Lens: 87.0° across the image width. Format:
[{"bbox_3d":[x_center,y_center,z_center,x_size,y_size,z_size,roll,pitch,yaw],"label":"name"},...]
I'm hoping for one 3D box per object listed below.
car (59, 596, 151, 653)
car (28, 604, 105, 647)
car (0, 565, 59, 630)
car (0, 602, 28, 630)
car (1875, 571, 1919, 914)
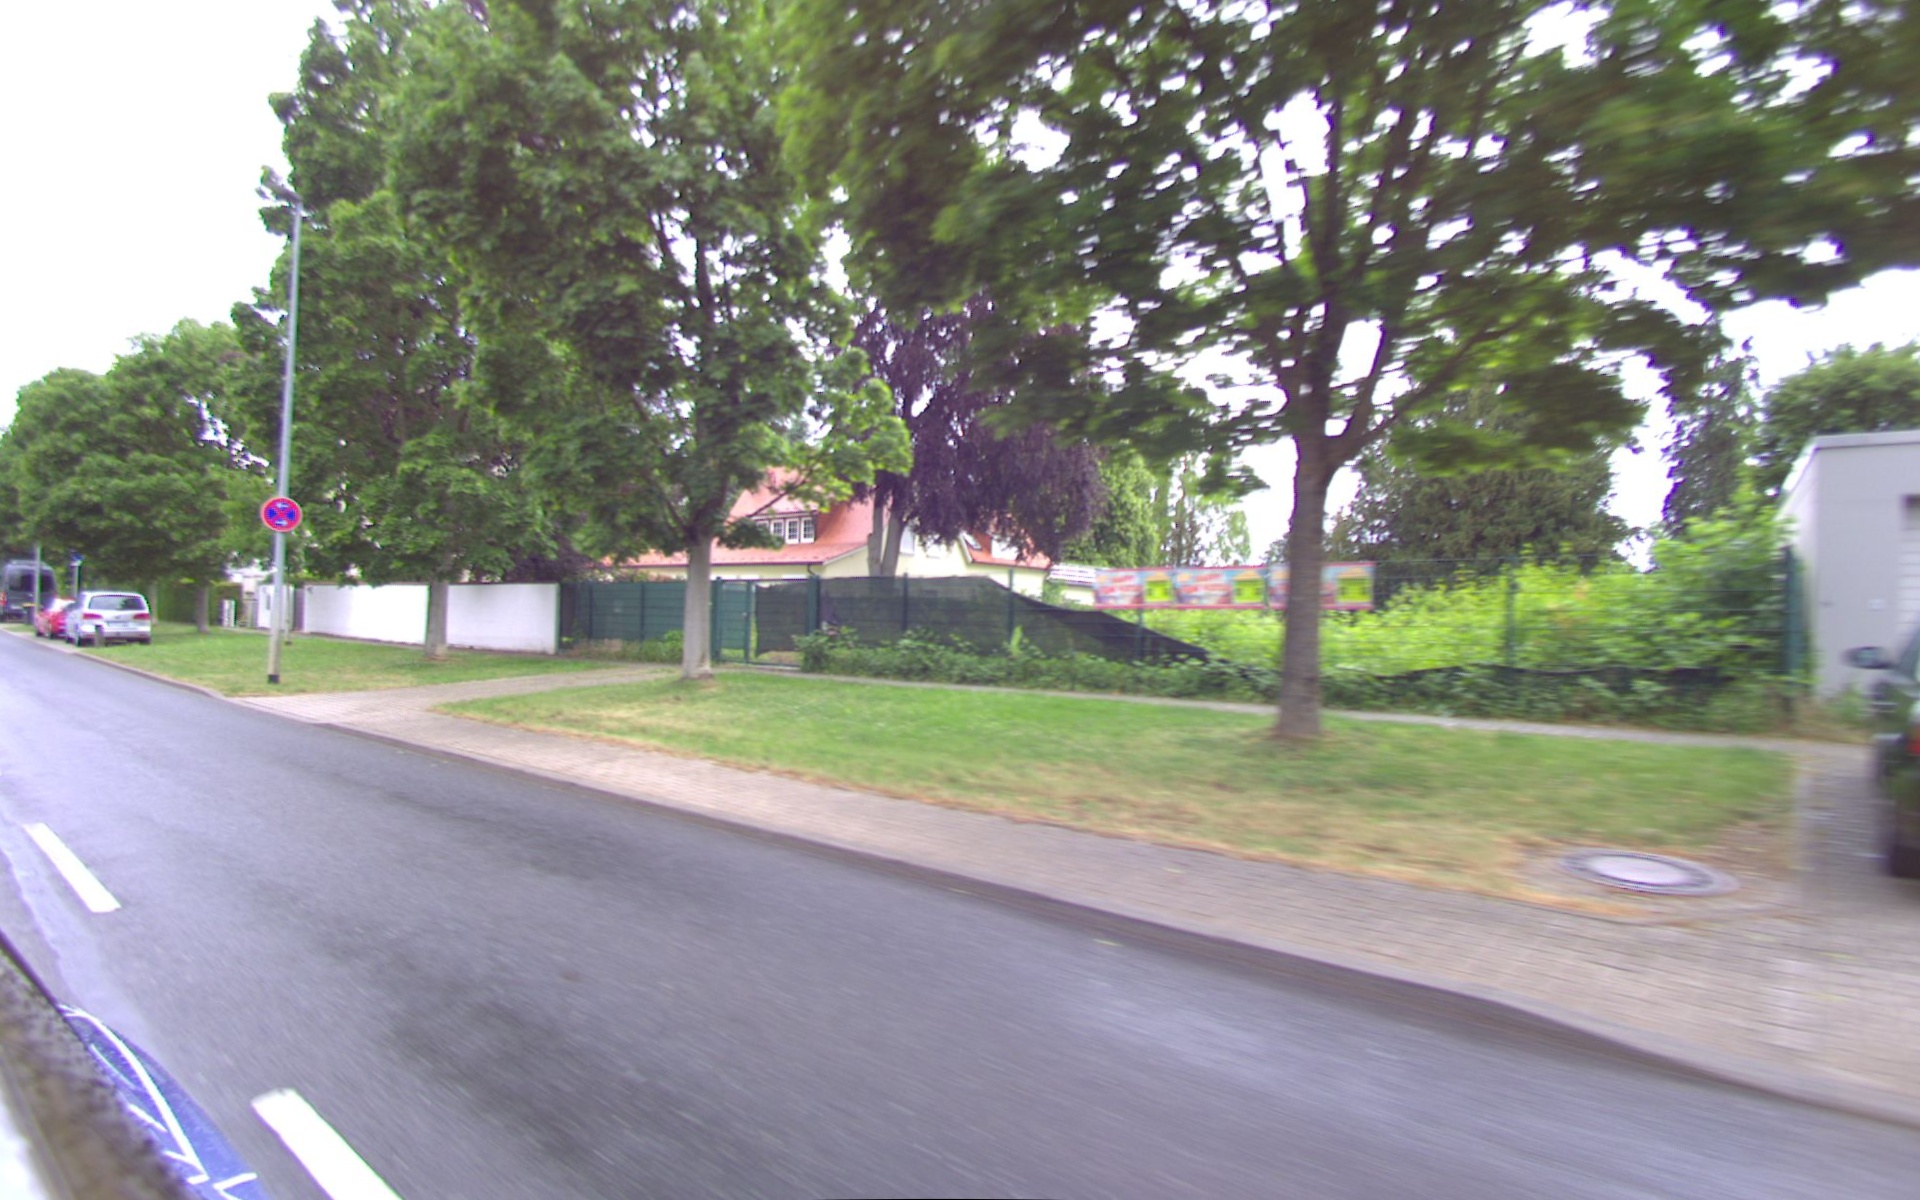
[{"bbox_3d":[-26.138,0.730,30.891,4.002,1.619,1.751,0,-2,44],"label":"car"},{"bbox_3d":[-30.334,0.816,34.315,3.844,1.334,1.683,0,1,44],"label":"car"},{"bbox_3d":[-43.248,-0.118,46.650,5.046,2.860,2.217,0,0,44],"label":"car"},{"bbox_3d":[-48.242,0.797,50.996,3.844,1.334,1.683,0,1,44],"label":"car"},{"bbox_3d":[6.245,0.572,5.510,1.755,1.428,4.382,-1,1,41],"label":"car"}]
